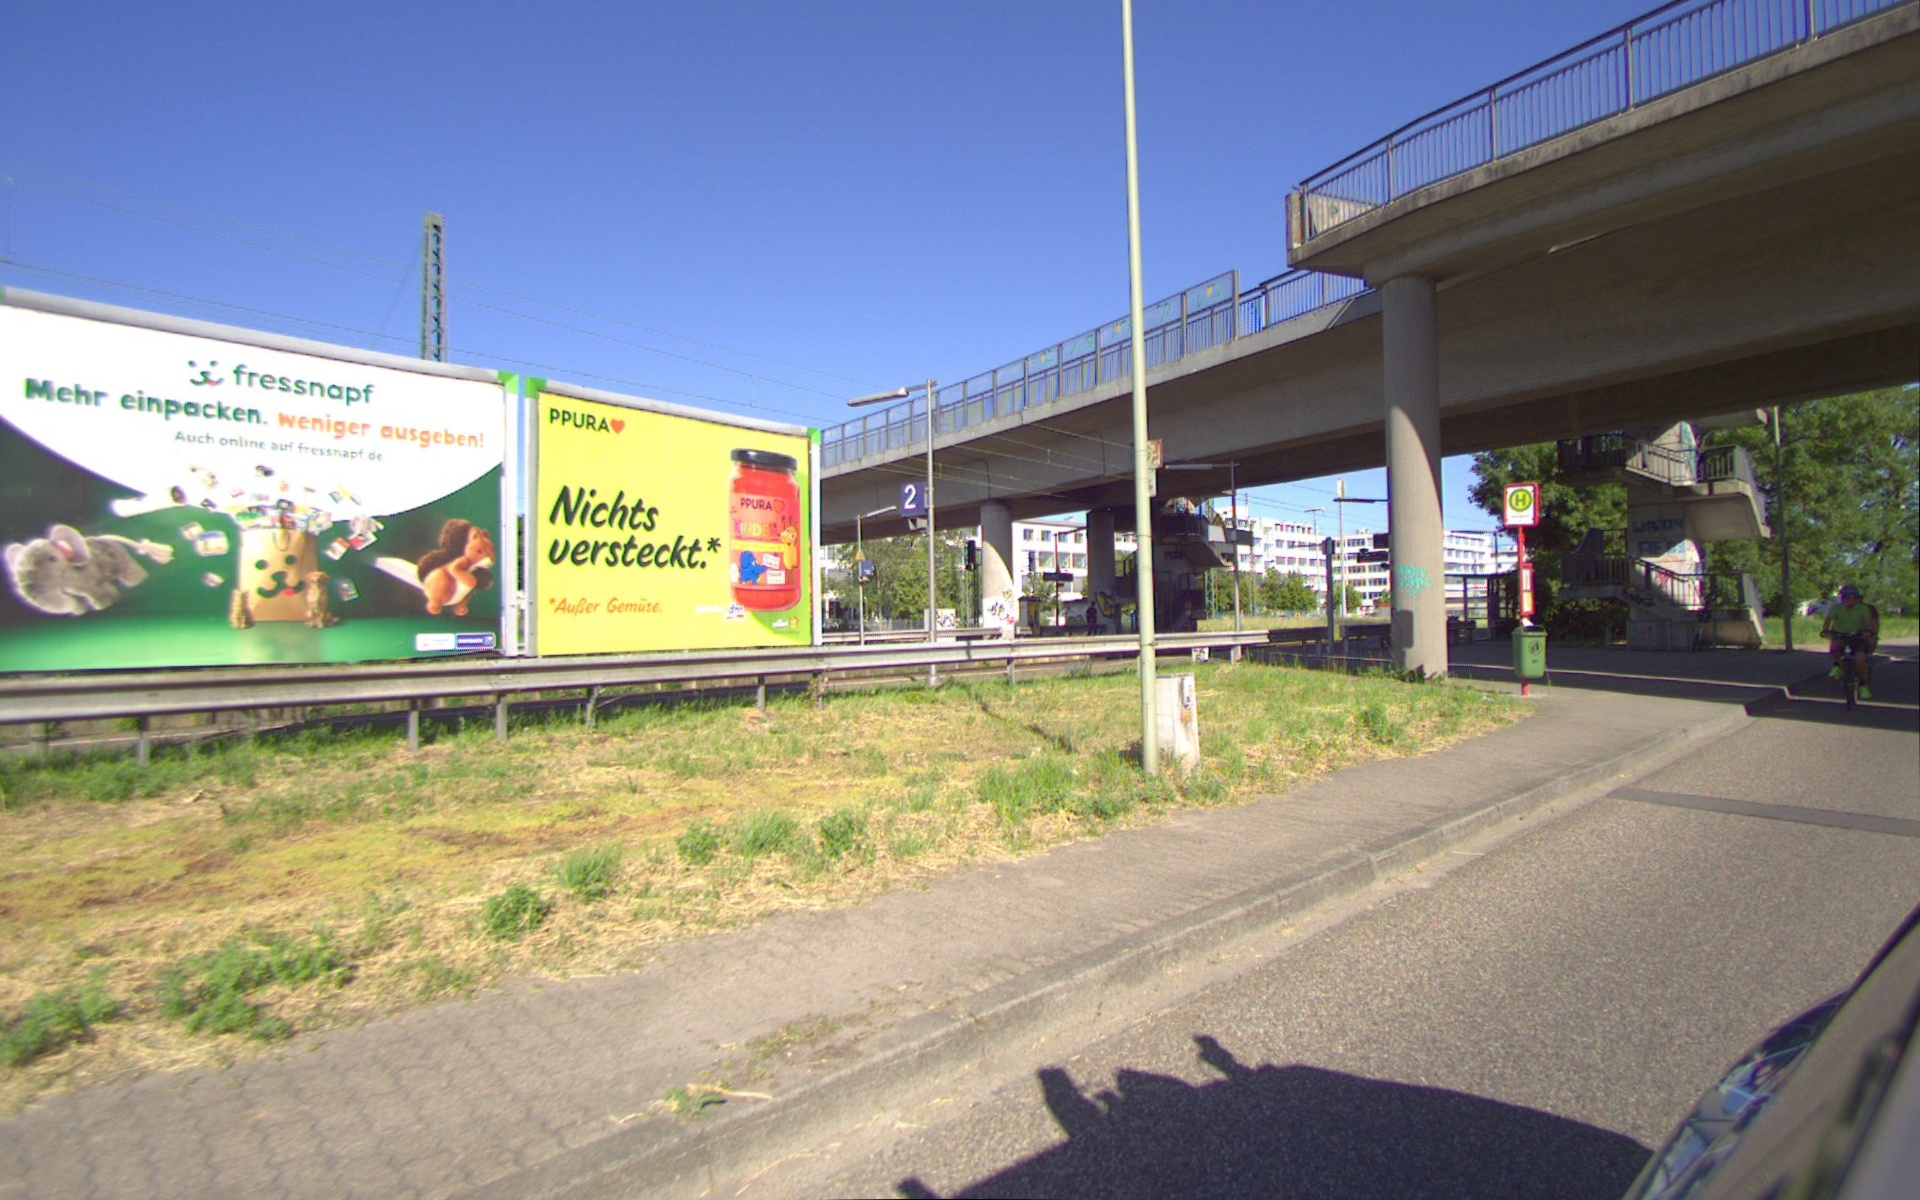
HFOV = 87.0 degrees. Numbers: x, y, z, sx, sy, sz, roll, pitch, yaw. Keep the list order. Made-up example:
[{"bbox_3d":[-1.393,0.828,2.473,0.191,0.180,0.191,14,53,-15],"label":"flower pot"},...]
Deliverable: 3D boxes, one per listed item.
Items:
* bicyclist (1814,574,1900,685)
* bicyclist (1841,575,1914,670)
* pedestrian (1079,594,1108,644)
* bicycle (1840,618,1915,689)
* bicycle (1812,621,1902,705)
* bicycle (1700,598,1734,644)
[{"bbox_3d":[12.794,0.405,14.435,0.841,1.507,0.909,-2,-1,45],"label":"bicyclist"},{"bbox_3d":[15.171,0.362,16.730,0.841,1.507,0.909,-2,-1,44],"label":"bicyclist"},{"bbox_3d":[5.558,0.792,42.172,0.893,2.039,0.822,-2,-1,44],"label":"pedestrian"},{"bbox_3d":[15.146,0.849,16.687,0.840,1.065,2.155,-2,-1,44],"label":"bicycle"},{"bbox_3d":[12.791,0.857,14.412,0.841,1.065,2.155,-2,-1,44],"label":"bicycle"},{"bbox_3d":[20.515,0.551,27.414,0.596,1.197,2.149,-1,0,41],"label":"bicycle"}]
